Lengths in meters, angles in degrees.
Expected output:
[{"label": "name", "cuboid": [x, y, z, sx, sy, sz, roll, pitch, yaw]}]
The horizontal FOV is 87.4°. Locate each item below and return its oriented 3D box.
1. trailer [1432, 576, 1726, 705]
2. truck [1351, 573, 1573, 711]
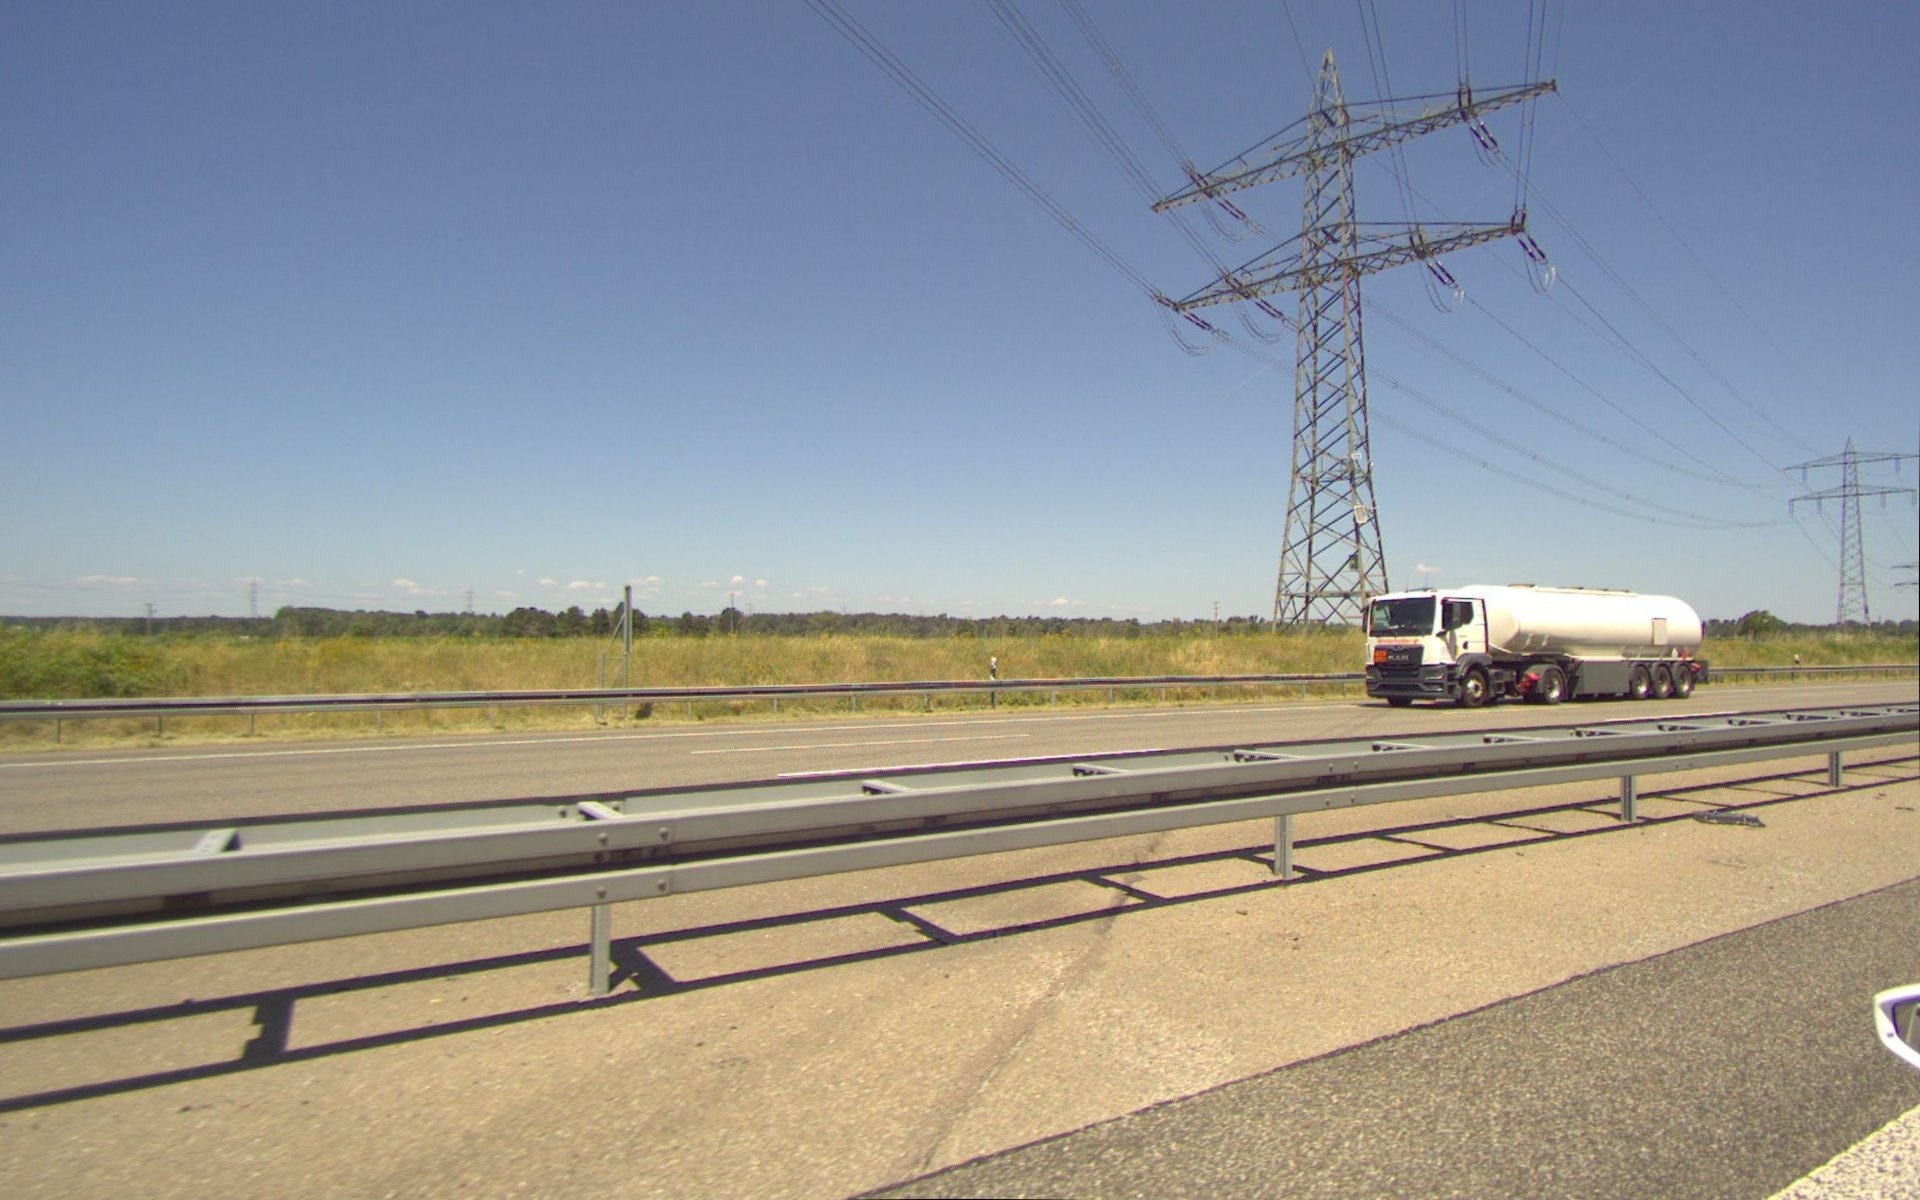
[{"label": "trailer", "cuboid": [19.046, 1.237, 30.502, 11.424, 3.416, 2.406, 1, -3, -30]}, {"label": "truck", "cuboid": [13.767, 1.152, 27.450, 6.138, 3.422, 2.471, 1, -3, -30]}]
